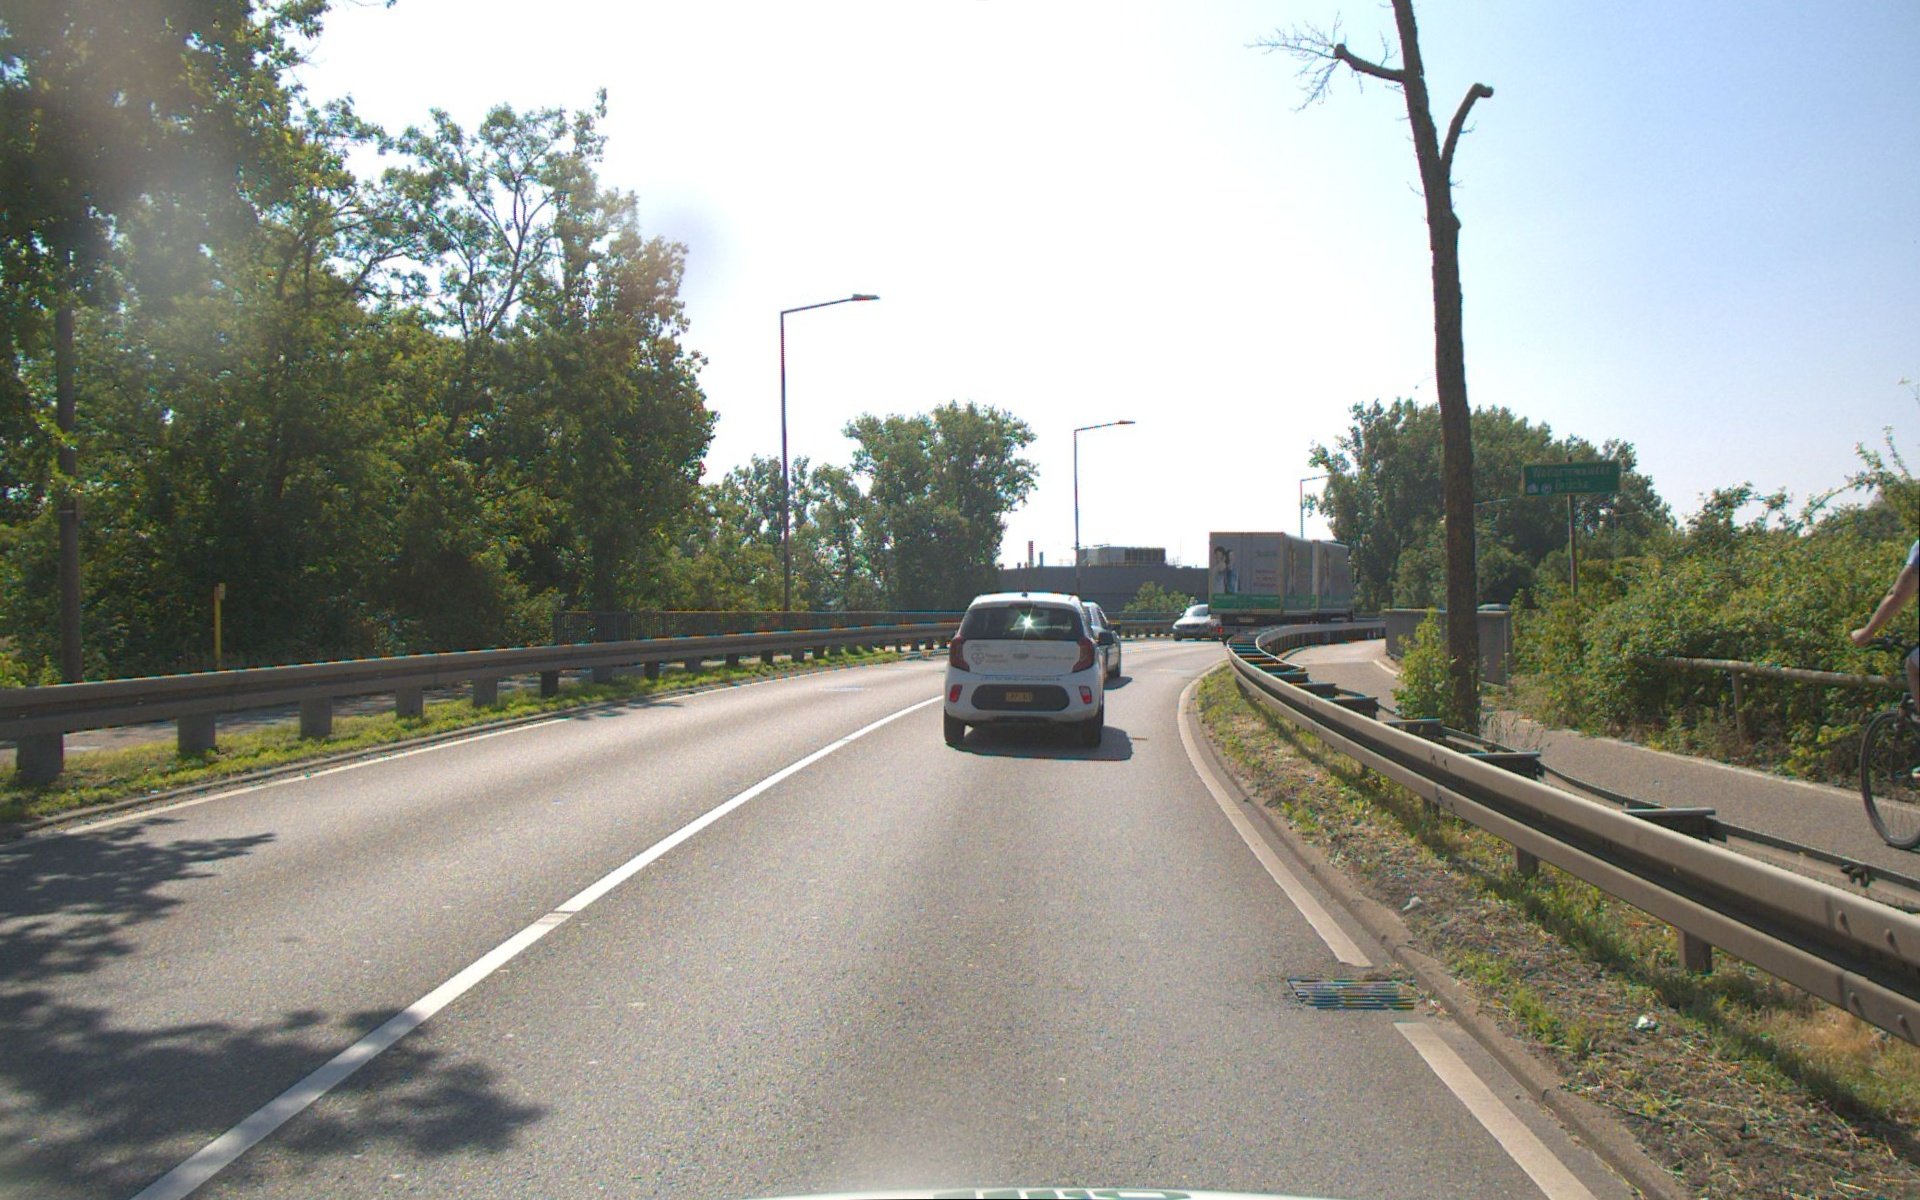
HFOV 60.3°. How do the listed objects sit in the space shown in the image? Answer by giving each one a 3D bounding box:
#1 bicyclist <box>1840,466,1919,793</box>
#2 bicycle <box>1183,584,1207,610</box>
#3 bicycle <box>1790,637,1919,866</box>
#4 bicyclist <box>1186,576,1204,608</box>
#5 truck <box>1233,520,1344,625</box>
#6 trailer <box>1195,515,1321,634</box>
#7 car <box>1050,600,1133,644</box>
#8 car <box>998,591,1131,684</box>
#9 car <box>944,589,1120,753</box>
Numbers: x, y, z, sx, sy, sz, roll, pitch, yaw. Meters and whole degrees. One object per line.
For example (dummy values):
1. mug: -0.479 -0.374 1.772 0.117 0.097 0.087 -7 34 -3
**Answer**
1. bicyclist: 4.855 0.129 7.984 0.645 1.546 0.802 -3 -2 -4
2. bicycle: 11.180 -0.144 78.628 0.599 1.155 2.149 -3 -2 21
3. bicycle: 4.879 0.726 7.995 0.688 1.037 1.845 -4 -1 -2
4. bicyclist: 11.170 -0.367 78.633 0.595 1.464 1.078 -2 -2 21
5. truck: 13.045 -1.144 65.041 3.192 3.823 8.375 2 2 18
6. trailer: 10.485 -0.944 57.558 3.157 3.823 7.829 2 2 18
7. car: 4.431 0.706 55.270 1.681 1.422 4.183 0 0 21
8. car: 1.980 0.611 29.930 1.897 1.512 4.904 1 0 9
9. car: 0.794 0.666 17.915 1.666 1.520 4.002 1 1 3
